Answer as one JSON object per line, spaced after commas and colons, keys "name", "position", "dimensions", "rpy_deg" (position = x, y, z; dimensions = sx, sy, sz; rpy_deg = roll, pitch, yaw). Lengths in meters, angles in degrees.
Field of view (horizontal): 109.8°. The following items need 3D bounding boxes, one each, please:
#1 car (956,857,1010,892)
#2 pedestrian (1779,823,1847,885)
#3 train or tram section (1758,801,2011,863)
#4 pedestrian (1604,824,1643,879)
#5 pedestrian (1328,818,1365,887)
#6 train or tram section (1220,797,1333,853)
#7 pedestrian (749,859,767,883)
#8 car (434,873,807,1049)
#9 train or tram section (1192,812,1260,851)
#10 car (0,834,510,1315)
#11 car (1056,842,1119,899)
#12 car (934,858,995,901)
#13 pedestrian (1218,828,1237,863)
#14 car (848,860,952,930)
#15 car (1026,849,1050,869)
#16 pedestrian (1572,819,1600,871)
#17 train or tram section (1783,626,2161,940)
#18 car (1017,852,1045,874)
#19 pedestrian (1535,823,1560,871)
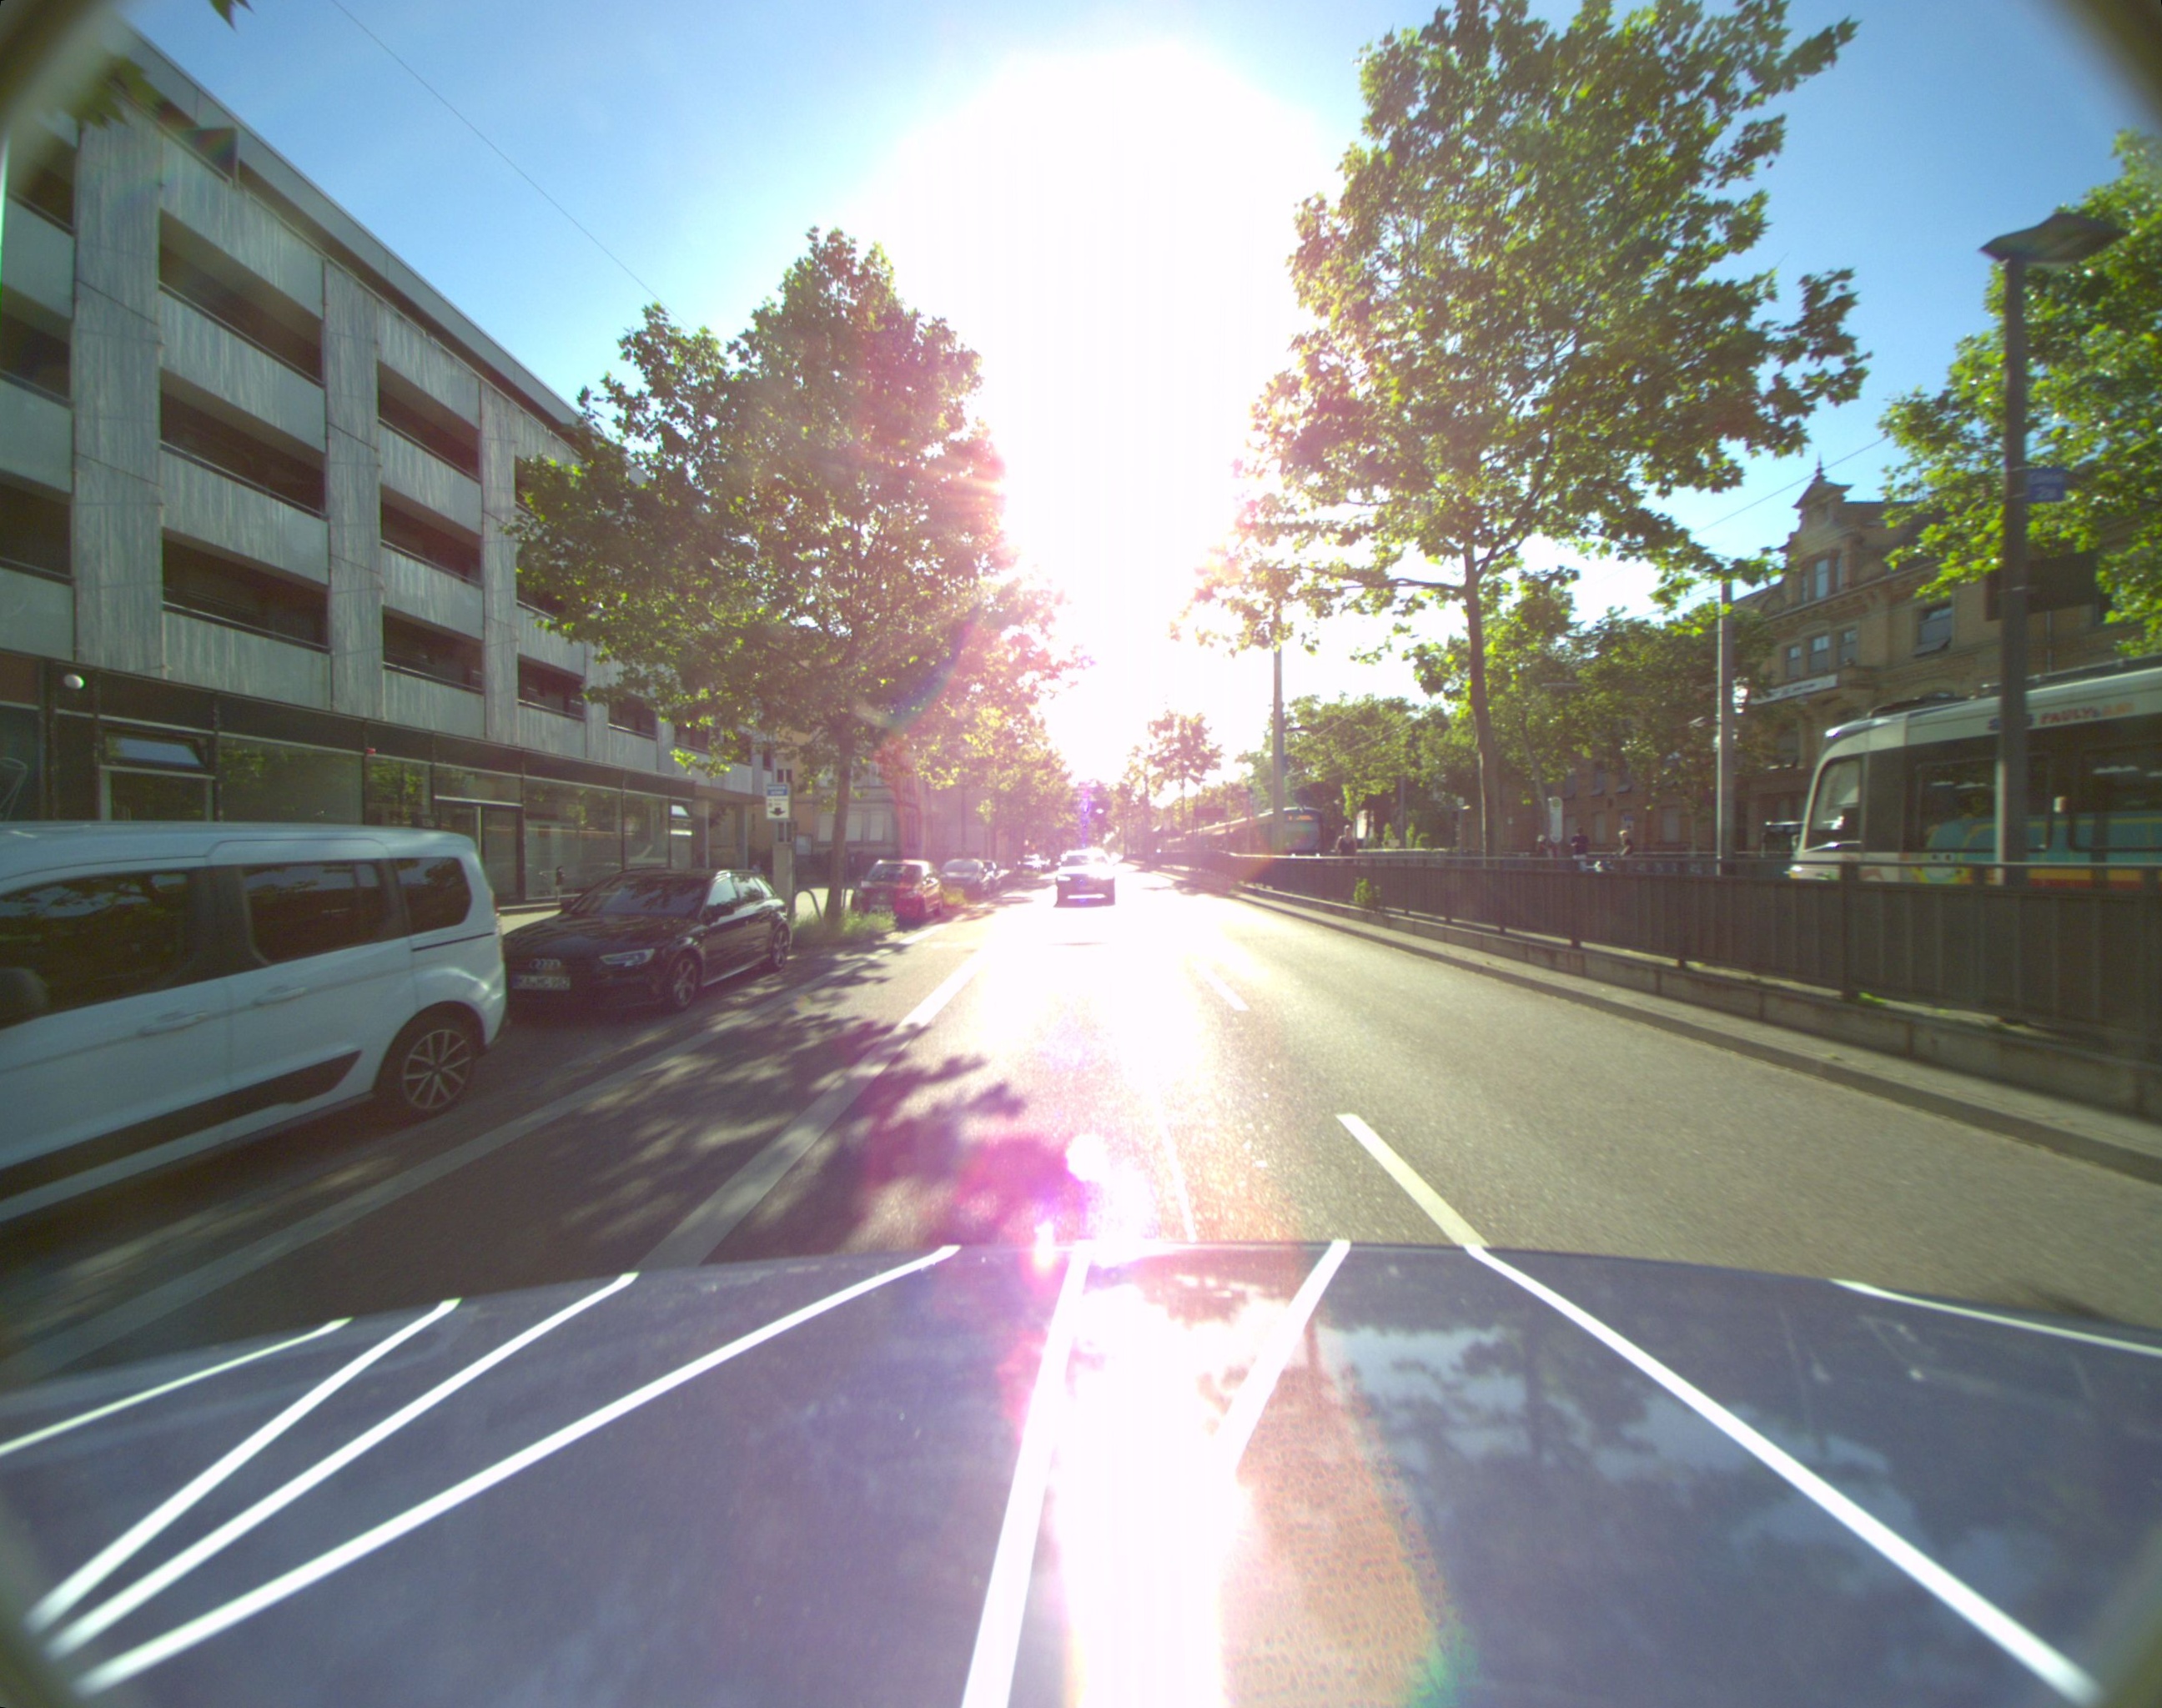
{"name": "car", "position": [-4.355, 0.874, 34.275], "dimensions": [1.781, 1.374, 4.276], "rpy_deg": [-1, 1, 1]}
{"name": "pedestrian", "position": [17.675, 0.001, 18.362], "dimensions": [0.728, 1.453, 0.879], "rpy_deg": [1, 1, -3]}
{"name": "train or tram section", "position": [34.545, -0.891, 33.304], "dimensions": [2.651, 2.314, 8.077], "rpy_deg": [-1, 1, 1]}
{"name": "pedestrian", "position": [17.637, -0.075, 24.732], "dimensions": [0.676, 1.746, 0.813], "rpy_deg": [-1, 1, -1]}
{"name": "pedestrian", "position": [6.669, -0.047, 19.111], "dimensions": [0.683, 1.700, 0.624], "rpy_deg": [-1, 1, 0]}
{"name": "train or tram section", "position": [10.497, -1.413, 43.008], "dimensions": [2.569, 2.550, 15.673], "rpy_deg": [-1, 1, 1]}
{"name": "pedestrian", "position": [-15.328, 0.795, 36.065], "dimensions": [0.560, 1.103, 0.684], "rpy_deg": [0, 1, 1]}
{"name": "car", "position": [-4.877, 1.006, 8.909], "dimensions": [1.733, 1.395, 4.294], "rpy_deg": [1, 1, 0]}
{"name": "train or tram section", "position": [10.773, -1.592, 58.353], "dimensions": [2.569, 2.517, 15.071], "rpy_deg": [-1, 1, 1]}
{"name": "car", "position": [-4.881, 0.813, 3.065], "dimensions": [1.768, 1.781, 4.393], "rpy_deg": [0, 0, 1]}
{"name": "car", "position": [0.230, 0.484, 25.826], "dimensions": [1.914, 1.696, 4.273], "rpy_deg": [-1, 1, 1]}
{"name": "car", "position": [-4.321, 0.893, 28.613], "dimensions": [1.630, 1.433, 3.930], "rpy_deg": [1, 1, 1]}
{"name": "pedestrian", "position": [6.880, -0.394, 35.675], "dimensions": [0.700, 1.626, 0.761], "rpy_deg": [-1, 1, 1]}
{"name": "car", "position": [-4.380, 0.930, 18.864], "dimensions": [1.677, 1.430, 3.689], "rpy_deg": [2, 1, 0]}
{"name": "car", "position": [-3.918, 0.451, 69.760], "dimensions": [1.839, 1.666, 4.273], "rpy_deg": [-1, 1, 1]}
{"name": "pedestrian", "position": [17.582, -0.306, 26.449], "dimensions": [0.625, 1.791, 0.624], "rpy_deg": [0, 1, -40]}
{"name": "train or tram section", "position": [13.150, -0.773, 3.686], "dimensions": [2.878, 3.414, 18.274], "rpy_deg": [-2, 1, 1]}
{"name": "car", "position": [-3.910, 0.688, 60.180], "dimensions": [1.839, 1.556, 4.273], "rpy_deg": [-1, 1, 1]}
{"name": "pedestrian", "position": [17.450, -0.264, 28.423], "dimensions": [0.625, 1.791, 0.624], "rpy_deg": [0, 2, -43]}
